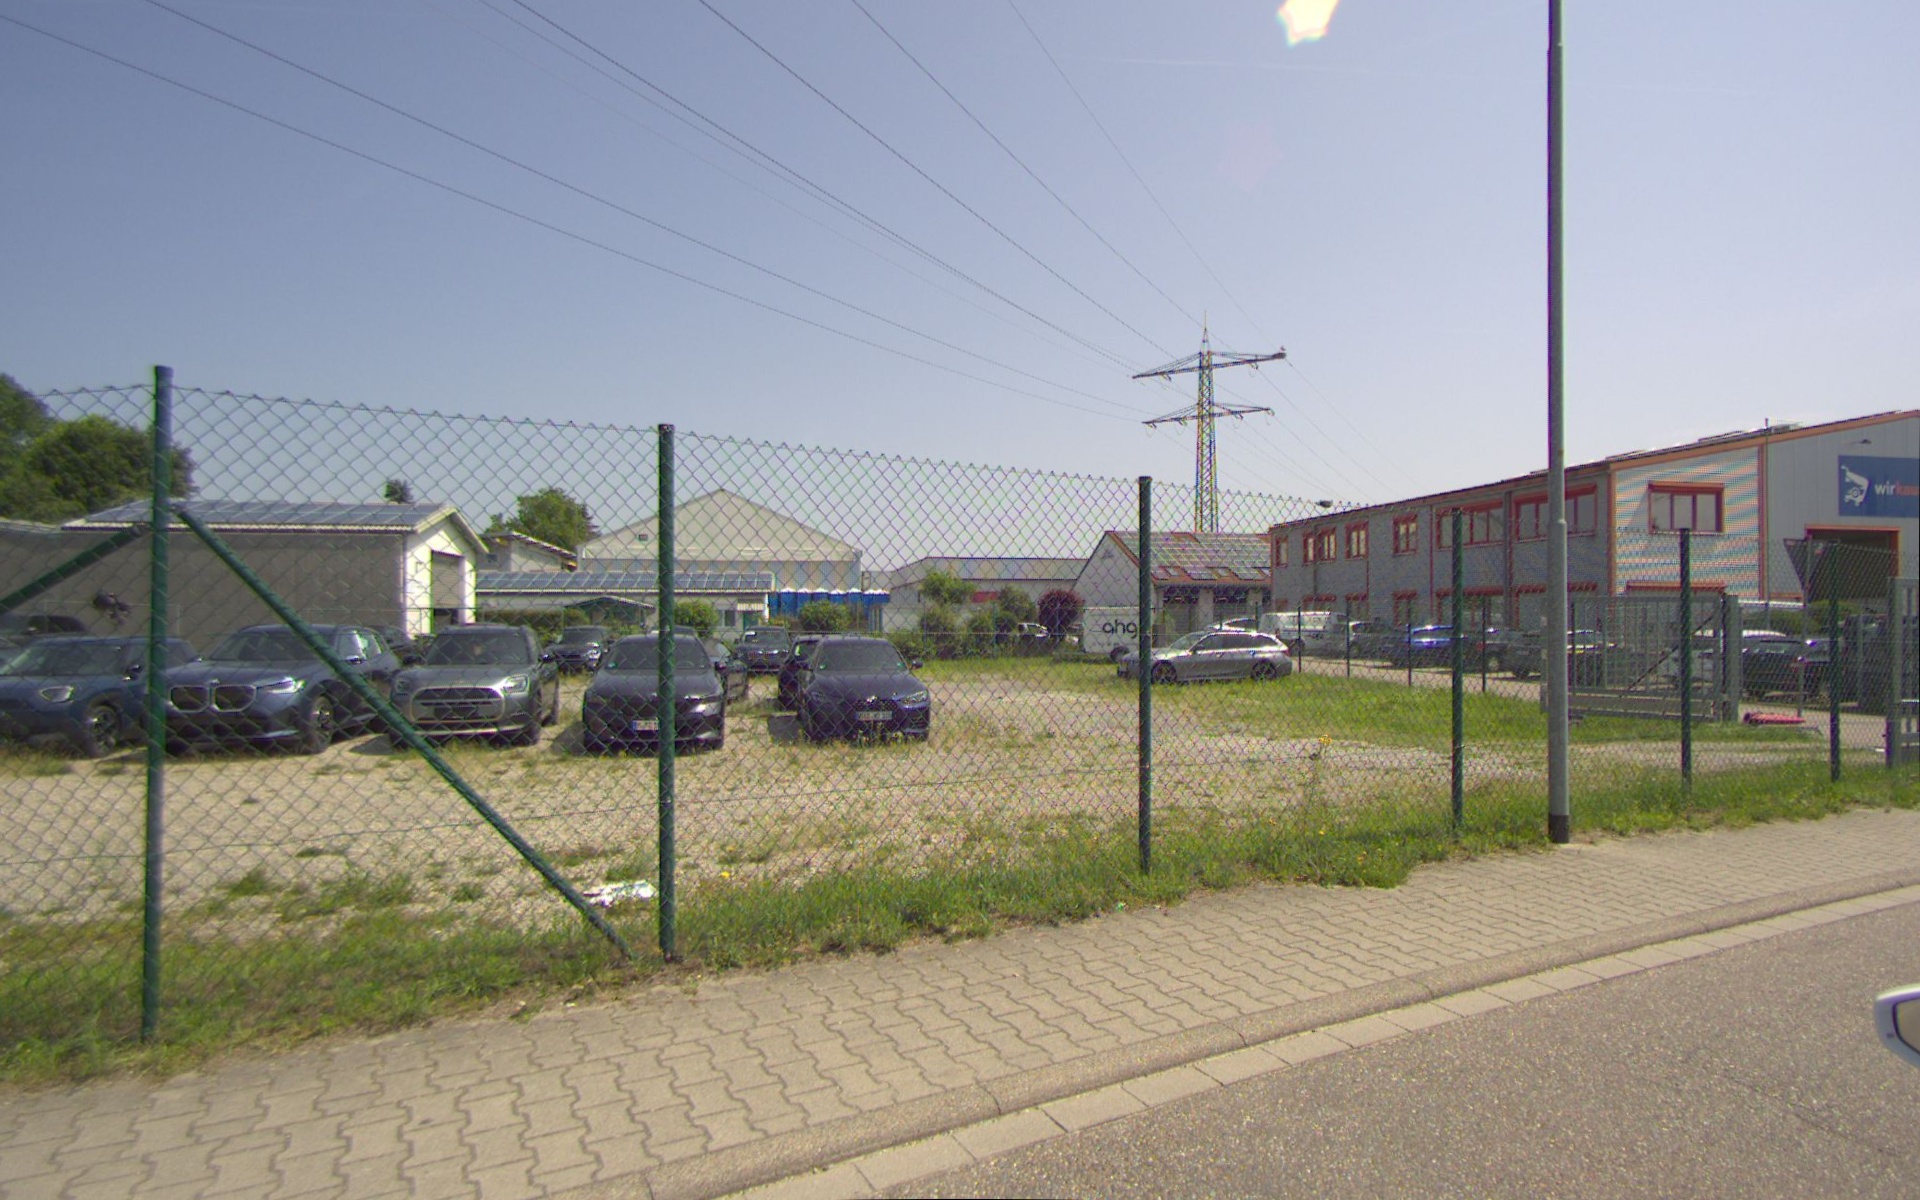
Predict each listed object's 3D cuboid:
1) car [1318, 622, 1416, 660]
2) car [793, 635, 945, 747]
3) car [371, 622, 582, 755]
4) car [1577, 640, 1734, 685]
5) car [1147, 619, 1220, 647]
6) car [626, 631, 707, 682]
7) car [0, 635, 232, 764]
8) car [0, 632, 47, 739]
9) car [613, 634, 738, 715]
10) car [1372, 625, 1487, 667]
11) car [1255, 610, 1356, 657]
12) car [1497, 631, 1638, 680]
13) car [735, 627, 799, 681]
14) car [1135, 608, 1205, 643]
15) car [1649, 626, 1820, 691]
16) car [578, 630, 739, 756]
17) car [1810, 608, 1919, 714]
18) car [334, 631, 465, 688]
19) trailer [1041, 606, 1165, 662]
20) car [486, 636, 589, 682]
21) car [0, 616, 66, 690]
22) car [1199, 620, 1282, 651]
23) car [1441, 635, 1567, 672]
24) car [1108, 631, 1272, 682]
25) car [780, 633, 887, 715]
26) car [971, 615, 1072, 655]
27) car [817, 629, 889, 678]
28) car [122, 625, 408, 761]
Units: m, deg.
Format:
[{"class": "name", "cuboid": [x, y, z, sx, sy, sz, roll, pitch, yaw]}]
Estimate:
[{"class": "car", "cuboid": [16.930, 1.700, 41.823, 3.540, 1.564, 1.505, 0, -1, -12]}, {"class": "car", "cuboid": [-1.600, 1.316, 15.950, 1.966, 1.454, 4.657, 1, -2, -11]}, {"class": "car", "cuboid": [-6.807, 1.175, 14.570, 1.835, 1.665, 3.627, 1, -2, -11]}, {"class": "car", "cuboid": [18.939, 1.682, 27.402, 3.540, 1.167, 1.505, 0, -1, -12]}, {"class": "car", "cuboid": [12.887, 1.903, 57.863, 3.838, 1.580, 1.505, 0, -1, -12]}, {"class": "car", "cuboid": [-9.072, 1.708, 31.381, 1.966, 1.454, 4.657, 1, -2, -11]}, {"class": "car", "cuboid": [-11.675, 1.207, 13.341, 1.835, 1.452, 3.642, 1, -2, -11]}, {"class": "car", "cuboid": [-14.150, 1.163, 13.030, 1.835, 1.472, 3.435, 1, -2, -11]}, {"class": "car", "cuboid": [-5.762, 1.457, 20.808, 1.963, 1.439, 3.995, 0, -1, -8]}, {"class": "car", "cuboid": [16.704, 1.618, 35.796, 3.540, 1.435, 1.505, 0, -1, -12]}, {"class": "car", "cuboid": [15.232, 1.475, 44.353, 3.838, 2.005, 1.820, 0, -1, -12]}, {"class": "car", "cuboid": [18.123, 1.641, 30.016, 3.540, 1.399, 1.505, 0, -1, -12]}, {"class": "car", "cuboid": [-6.036, 1.656, 31.498, 1.835, 1.575, 3.763, 1, -2, -11]}, {"class": "car", "cuboid": [12.522, 1.543, 59.878, 3.838, 2.040, 1.505, 0, -1, -12]}, {"class": "car", "cuboid": [19.674, 1.456, 25.549, 3.540, 1.560, 1.505, 0, -1, -12]}, {"class": "car", "cuboid": [-4.247, 1.243, 14.674, 1.835, 1.575, 3.763, 1, -2, -11]}, {"class": "car", "cuboid": [20.441, 1.223, 20.856, 4.438, 2.057, 1.953, 0, -1, -12]}, {"class": "car", "cuboid": [-15.713, 1.628, 28.445, 1.835, 1.452, 4.596, 1, -2, -11]}, {"class": "trailer", "cuboid": [5.154, 1.229, 36.569, 4.372, 1.971, 1.715, 0, -1, 4]}, {"class": "car", "cuboid": [-12.272, 1.682, 29.495, 1.835, 1.191, 4.596, 1, -2, -11]}, {"class": "car", "cuboid": [-17.940, 0.934, 17.660, 1.836, 1.315, 3.433, 1, -2, -13]}, {"class": "car", "cuboid": [14.344, 1.812, 51.417, 3.838, 1.536, 1.505, 0, -1, -12]}, {"class": "car", "cuboid": [17.915, 1.750, 33.141, 3.540, 1.167, 1.505, 0, -1, -12]}, {"class": "car", "cuboid": [6.024, 1.465, 26.401, 4.069, 1.277, 1.233, 1, -1, -12]}, {"class": "car", "cuboid": [-2.613, 1.458, 20.930, 1.964, 1.454, 4.417, 1, -1, -7]}, {"class": "car", "cuboid": [2.544, 1.454, 41.965, 3.927, 1.619, 1.874, 1, -1, -9]}, {"class": "car", "cuboid": [-3.565, 1.685, 32.672, 1.966, 1.454, 4.657, 1, -2, -11]}, {"class": "car", "cuboid": [-9.209, 1.149, 13.723, 1.835, 1.582, 3.690, 1, -2, -11]}]
